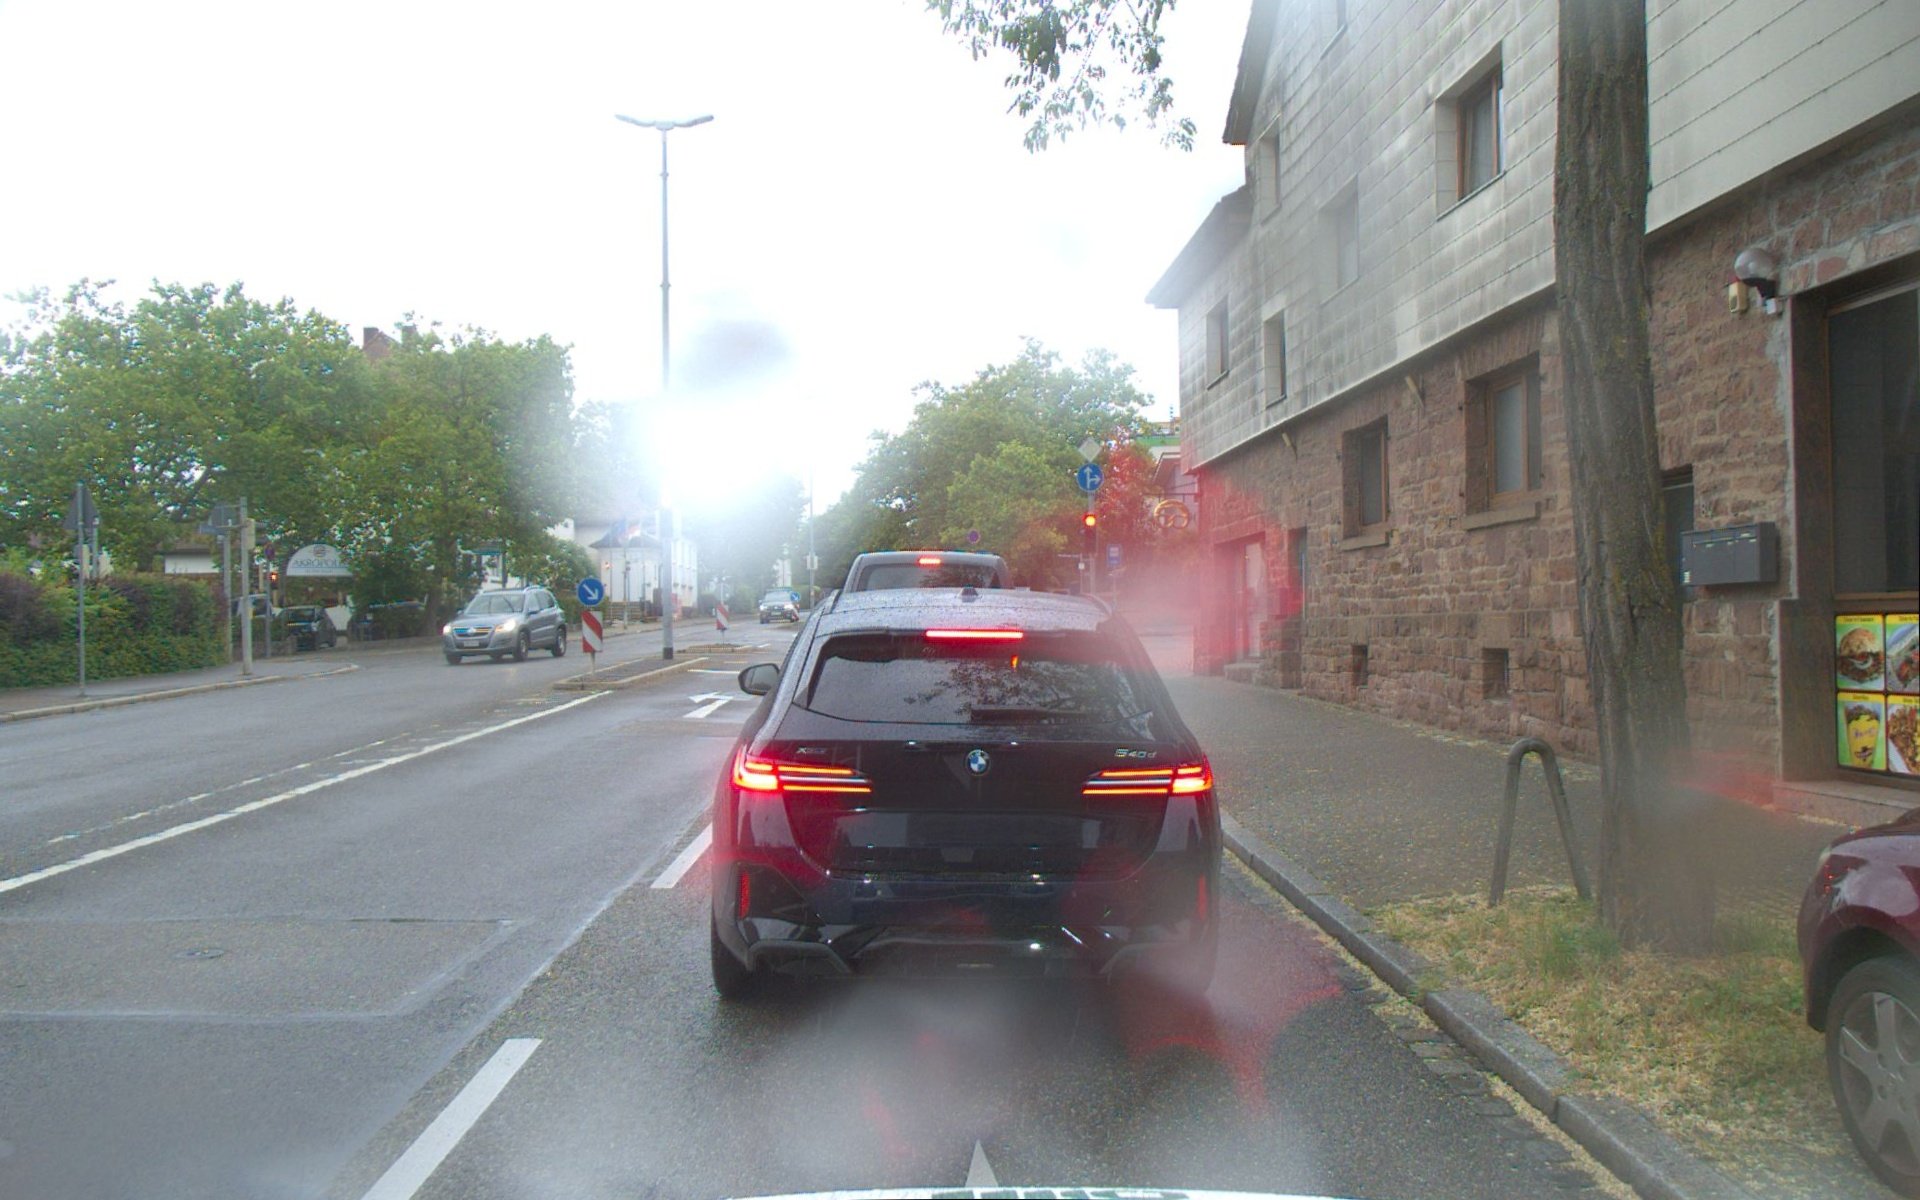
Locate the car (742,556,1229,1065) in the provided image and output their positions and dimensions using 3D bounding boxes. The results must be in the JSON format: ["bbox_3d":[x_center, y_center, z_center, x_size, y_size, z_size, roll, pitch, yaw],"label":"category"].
[{"bbox_3d":[-0.023,0.664,6.886,1.494,1.561,3.529,1,0,-4],"label":"car"}]

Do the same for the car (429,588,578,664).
[{"bbox_3d":[-10.528,0.554,38.494,1.868,1.618,4.320,-2,0,6],"label":"car"}]

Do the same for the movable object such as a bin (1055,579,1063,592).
[{"bbox_3d":[6.892,-1.015,115.367,0.440,0.921,0.463,1,-1,14],"label":"movable object such as a bin"}]

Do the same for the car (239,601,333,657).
[{"bbox_3d":[-23.129,0.977,56.898,1.772,1.578,4.000,1,4,-3],"label":"car"}]

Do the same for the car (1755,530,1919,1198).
[{"bbox_3d":[3.070,0.581,2.680,1.578,1.530,3.753,1,-2,-4],"label":"car"}]

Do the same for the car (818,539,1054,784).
[{"bbox_3d":[-0.297,0.479,14.480,1.776,1.840,3.753,1,0,-4],"label":"car"}]

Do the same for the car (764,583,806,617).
[{"bbox_3d":[-8.722,-0.027,82.814,1.861,1.604,4.499,-1,1,-4],"label":"car"}]
